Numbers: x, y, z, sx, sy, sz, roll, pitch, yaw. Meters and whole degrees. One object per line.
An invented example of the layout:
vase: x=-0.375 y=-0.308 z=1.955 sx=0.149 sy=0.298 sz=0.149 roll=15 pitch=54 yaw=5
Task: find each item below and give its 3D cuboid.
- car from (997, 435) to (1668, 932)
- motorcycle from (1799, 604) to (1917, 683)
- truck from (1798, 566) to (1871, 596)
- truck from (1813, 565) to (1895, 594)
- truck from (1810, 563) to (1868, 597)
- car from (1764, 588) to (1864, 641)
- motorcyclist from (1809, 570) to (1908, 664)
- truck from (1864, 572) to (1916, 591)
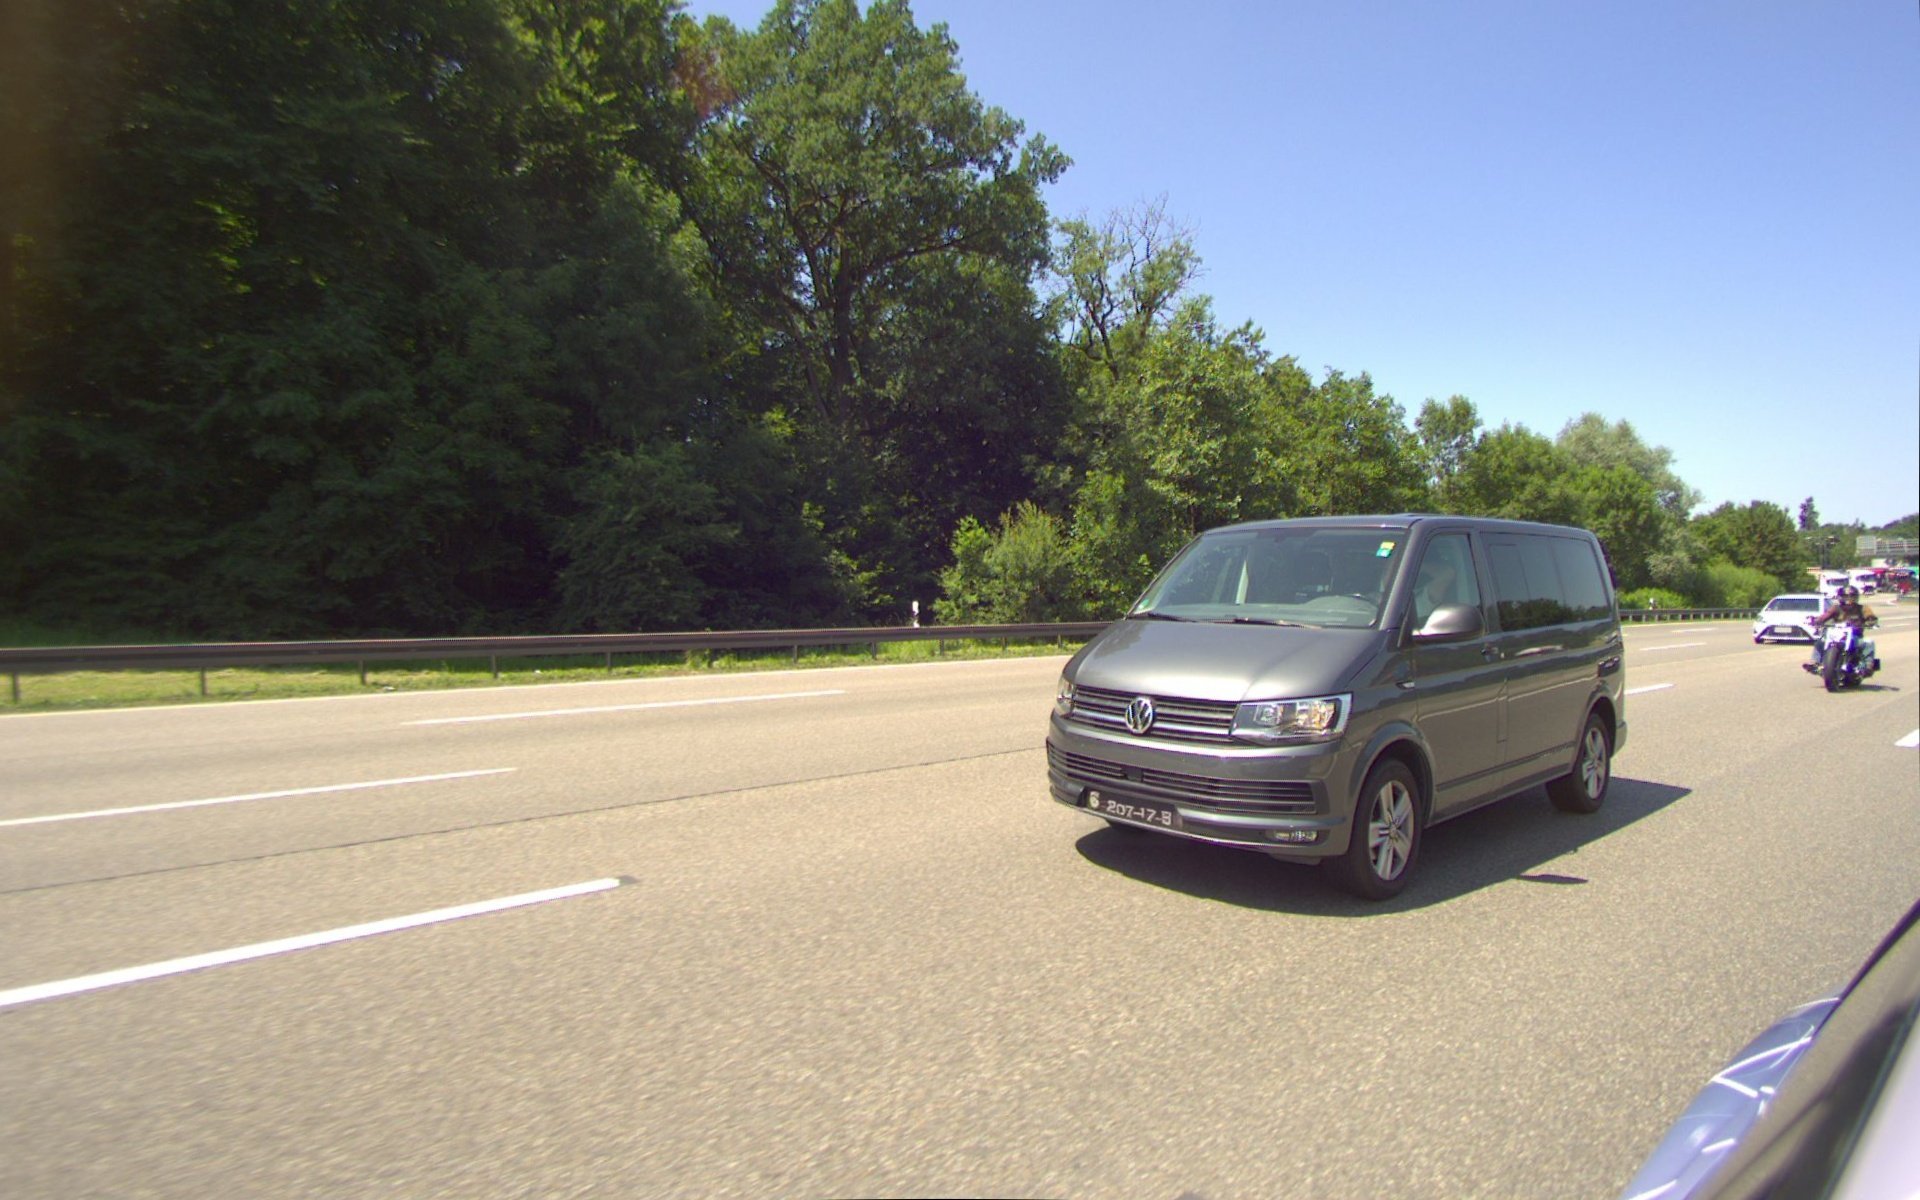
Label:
car: x=2.723 y=0.326 z=6.590 sx=4.994 sy=2.059 sz=1.966 roll=0 pitch=0 yaw=-41
motorcycle: x=14.353 y=0.662 z=16.159 sx=2.387 sy=1.150 sz=0.538 roll=-1 pitch=1 yaw=-26
truck: x=141.085 y=-3.080 z=163.561 sx=2.784 sy=4.515 sz=12.035 roll=-2 pitch=1 yaw=9
truck: x=147.106 y=-3.341 z=166.872 sx=2.786 sy=4.516 sz=14.600 roll=0 pitch=0 yaw=10
truck: x=131.874 y=-3.009 z=151.921 sx=3.214 sy=4.783 sz=7.169 roll=-2 pitch=1 yaw=10
car: x=26.377 y=0.394 z=31.223 sx=4.406 sy=1.538 sz=1.752 roll=0 pitch=0 yaw=-41
motorcyclist: x=14.290 y=0.241 z=16.113 sx=1.002 sy=1.445 sz=0.857 roll=-1 pitch=1 yaw=-26
truck: x=157.497 y=-3.144 z=171.491 sx=1.968 sy=2.986 sz=8.724 roll=-2 pitch=1 yaw=10
